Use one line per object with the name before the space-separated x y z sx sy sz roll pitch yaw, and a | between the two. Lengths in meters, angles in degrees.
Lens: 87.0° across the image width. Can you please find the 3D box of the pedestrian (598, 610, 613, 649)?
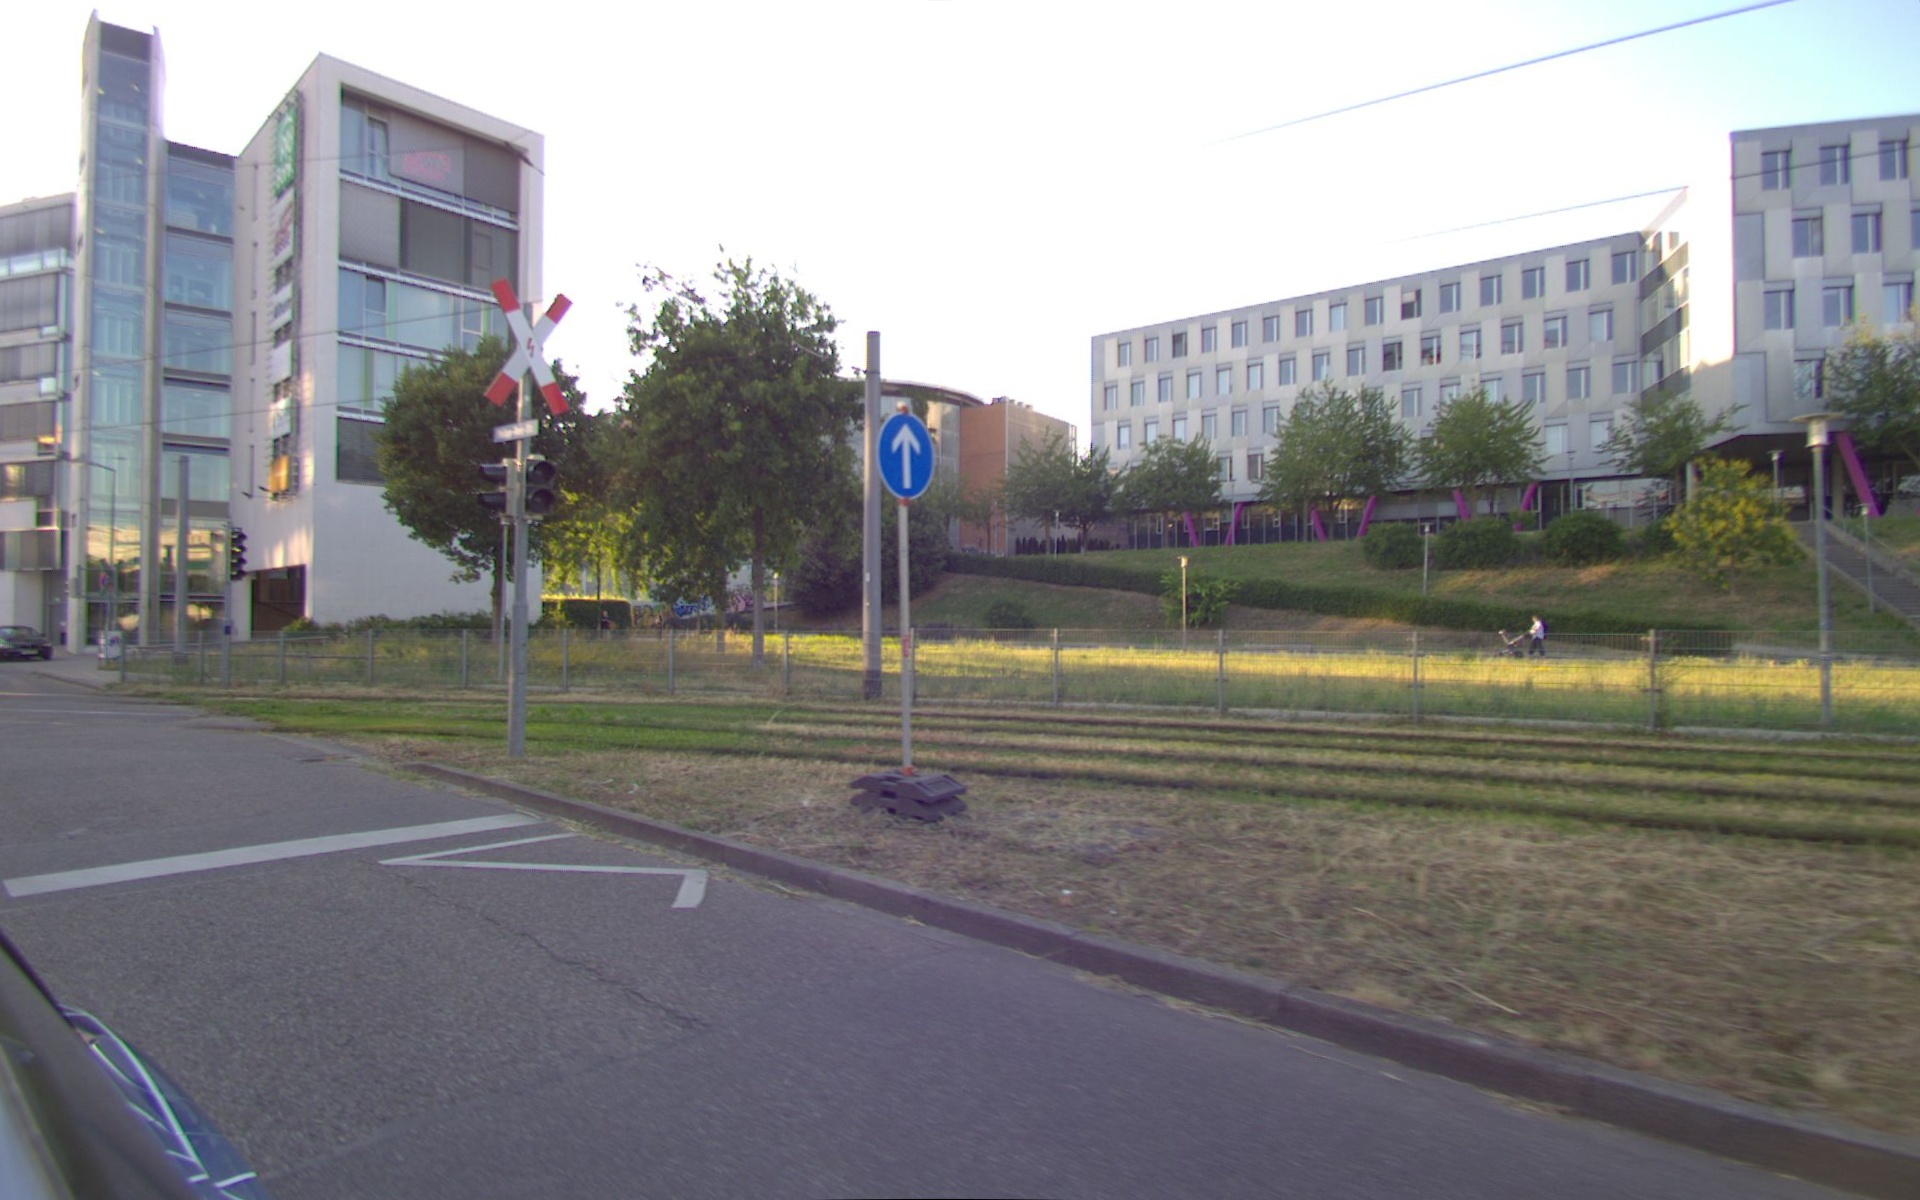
pedestrian | -17.030 1.424 48.583 0.480 1.850 0.446 -1 0 22

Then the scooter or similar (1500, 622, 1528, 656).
scooter or similar | 21.116 1.474 38.578 0.790 1.253 0.610 -1 0 41

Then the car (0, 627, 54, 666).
car | -38.562 1.861 40.932 4.216 1.453 1.838 -1 0 33

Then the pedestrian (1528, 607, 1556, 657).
pedestrian | 21.822 1.197 37.951 0.790 1.850 0.610 -1 0 41
